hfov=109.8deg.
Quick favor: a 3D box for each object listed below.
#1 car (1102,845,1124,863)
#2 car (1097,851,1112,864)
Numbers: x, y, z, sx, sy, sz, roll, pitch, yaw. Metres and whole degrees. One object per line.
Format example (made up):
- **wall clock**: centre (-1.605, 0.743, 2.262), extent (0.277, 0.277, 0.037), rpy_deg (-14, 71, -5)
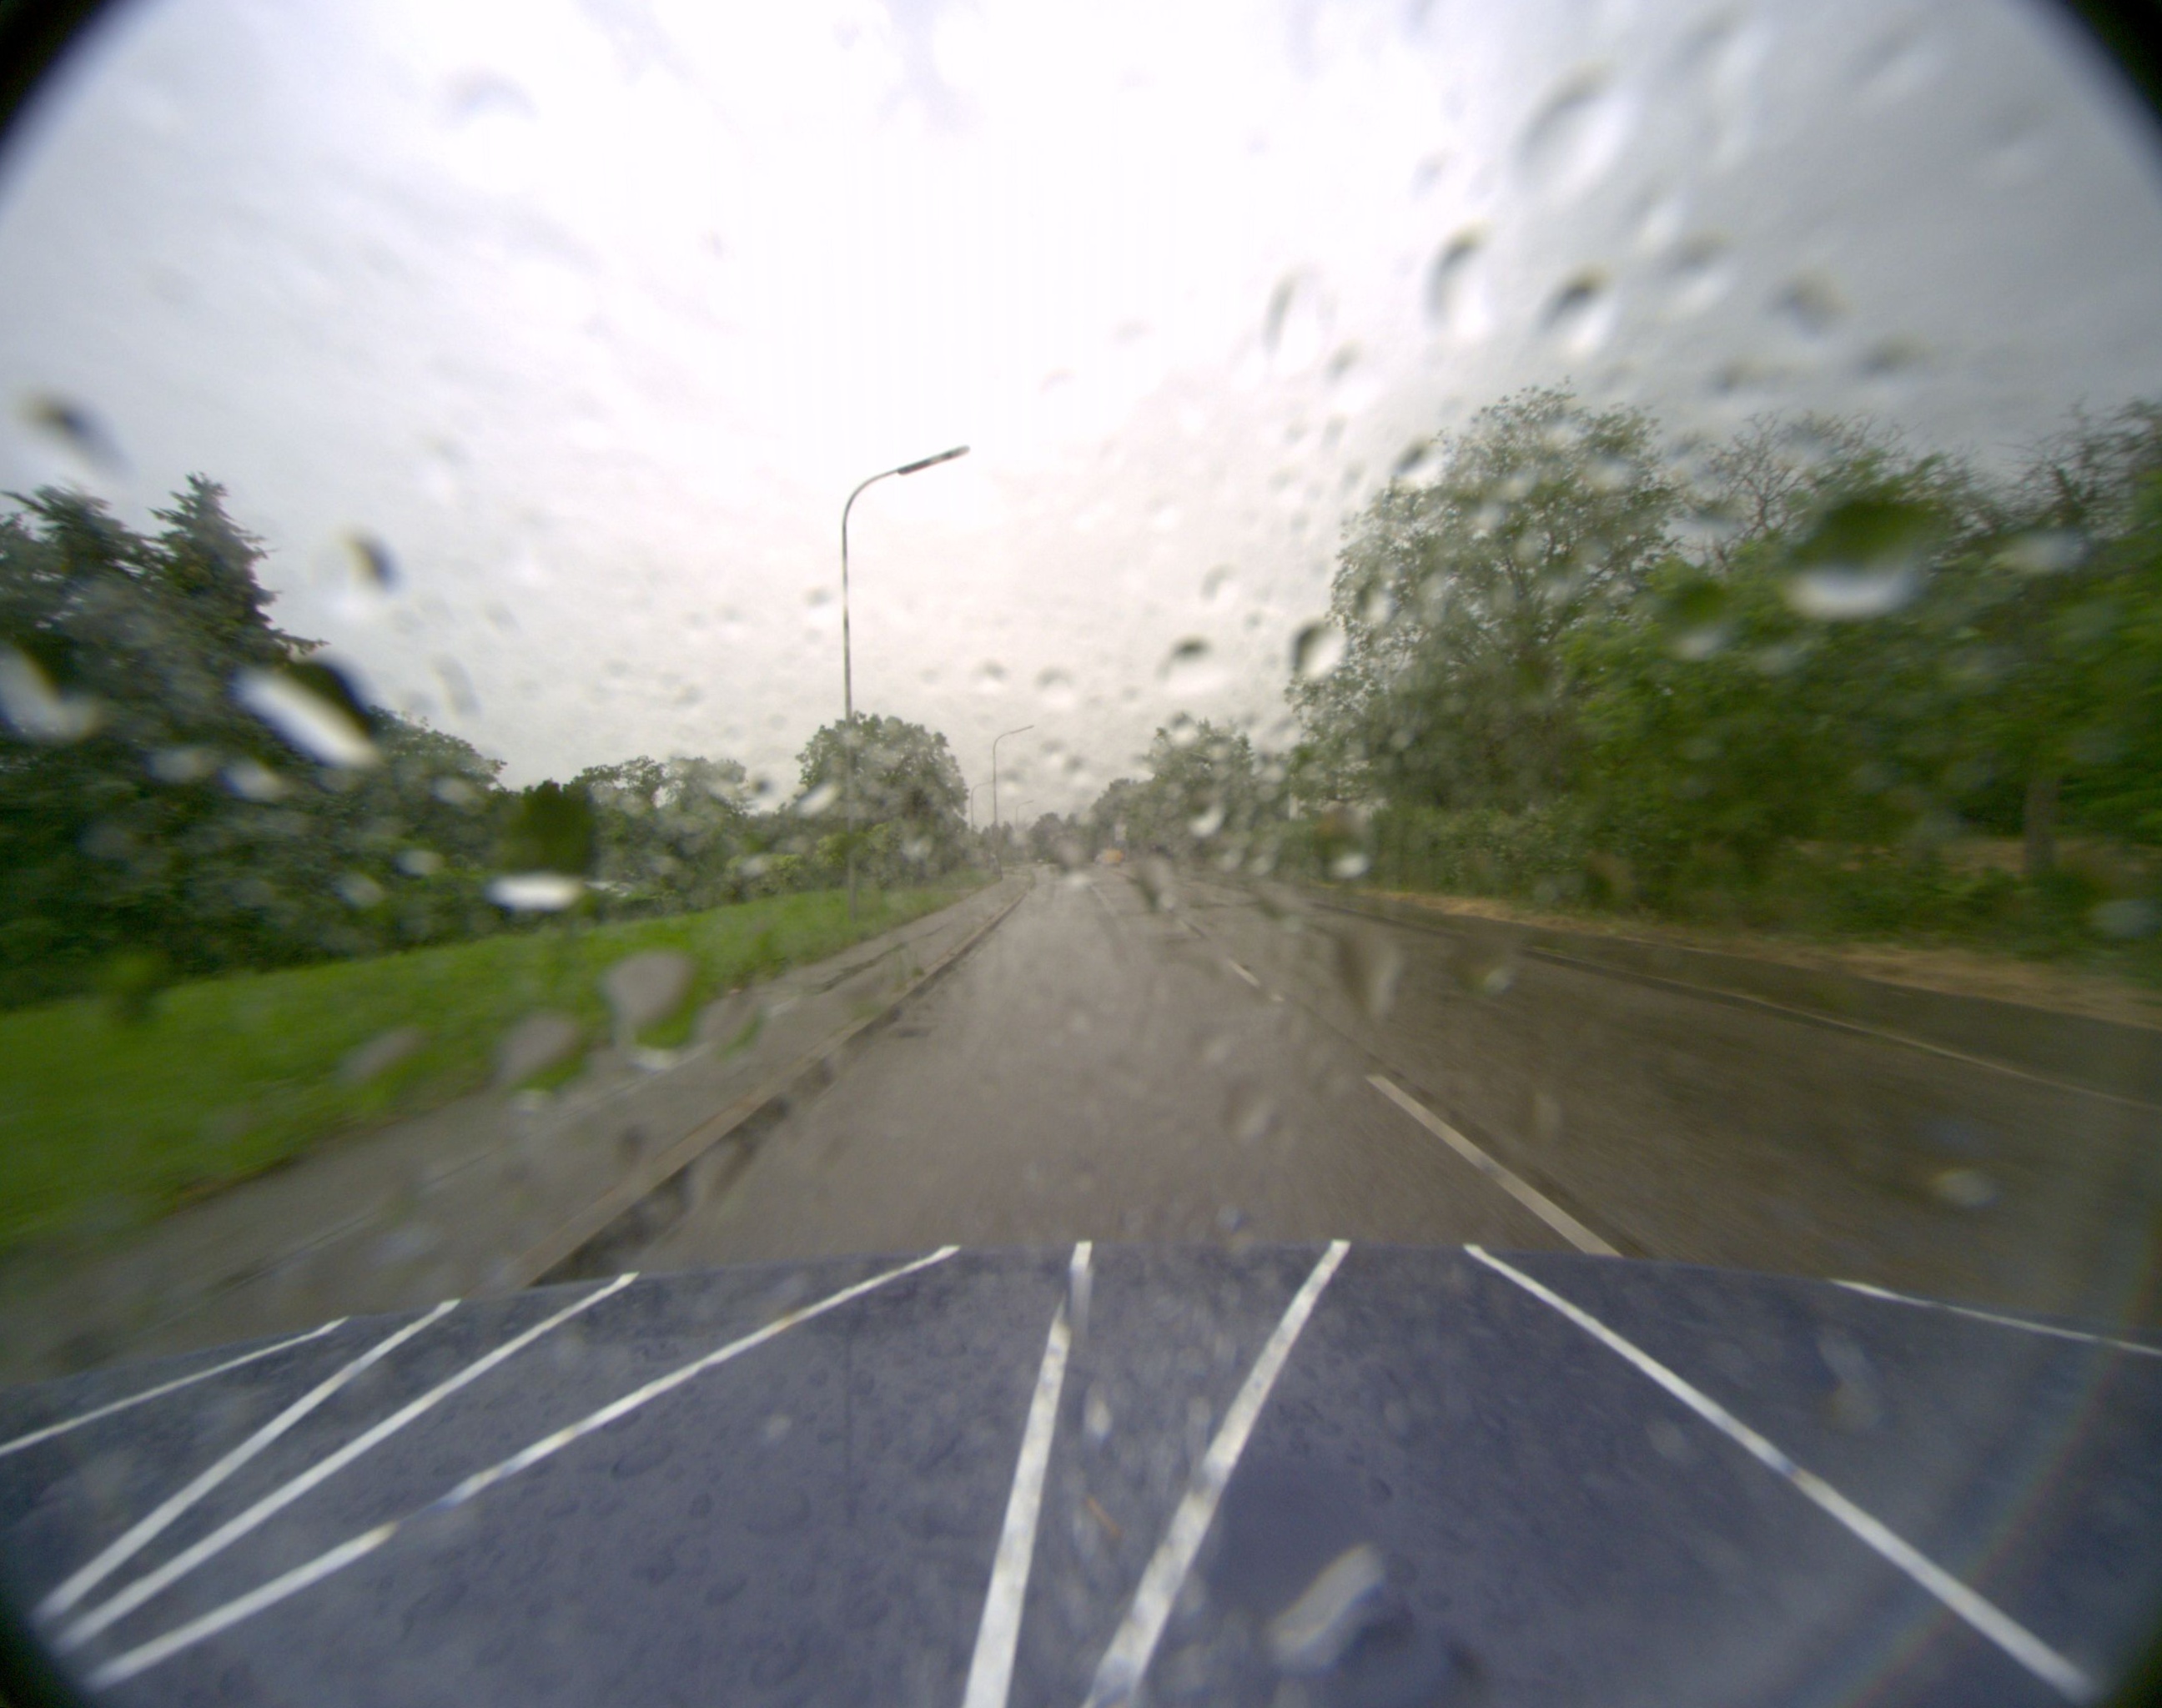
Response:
- **car**: centre (3.573, -0.049, 85.278), extent (1.999, 1.865, 4.468), rpy_deg (-3, 1, -3)
- **car**: centre (3.242, 0.455, 103.393), extent (1.830, 1.543, 3.615), rpy_deg (-3, 1, 0)
